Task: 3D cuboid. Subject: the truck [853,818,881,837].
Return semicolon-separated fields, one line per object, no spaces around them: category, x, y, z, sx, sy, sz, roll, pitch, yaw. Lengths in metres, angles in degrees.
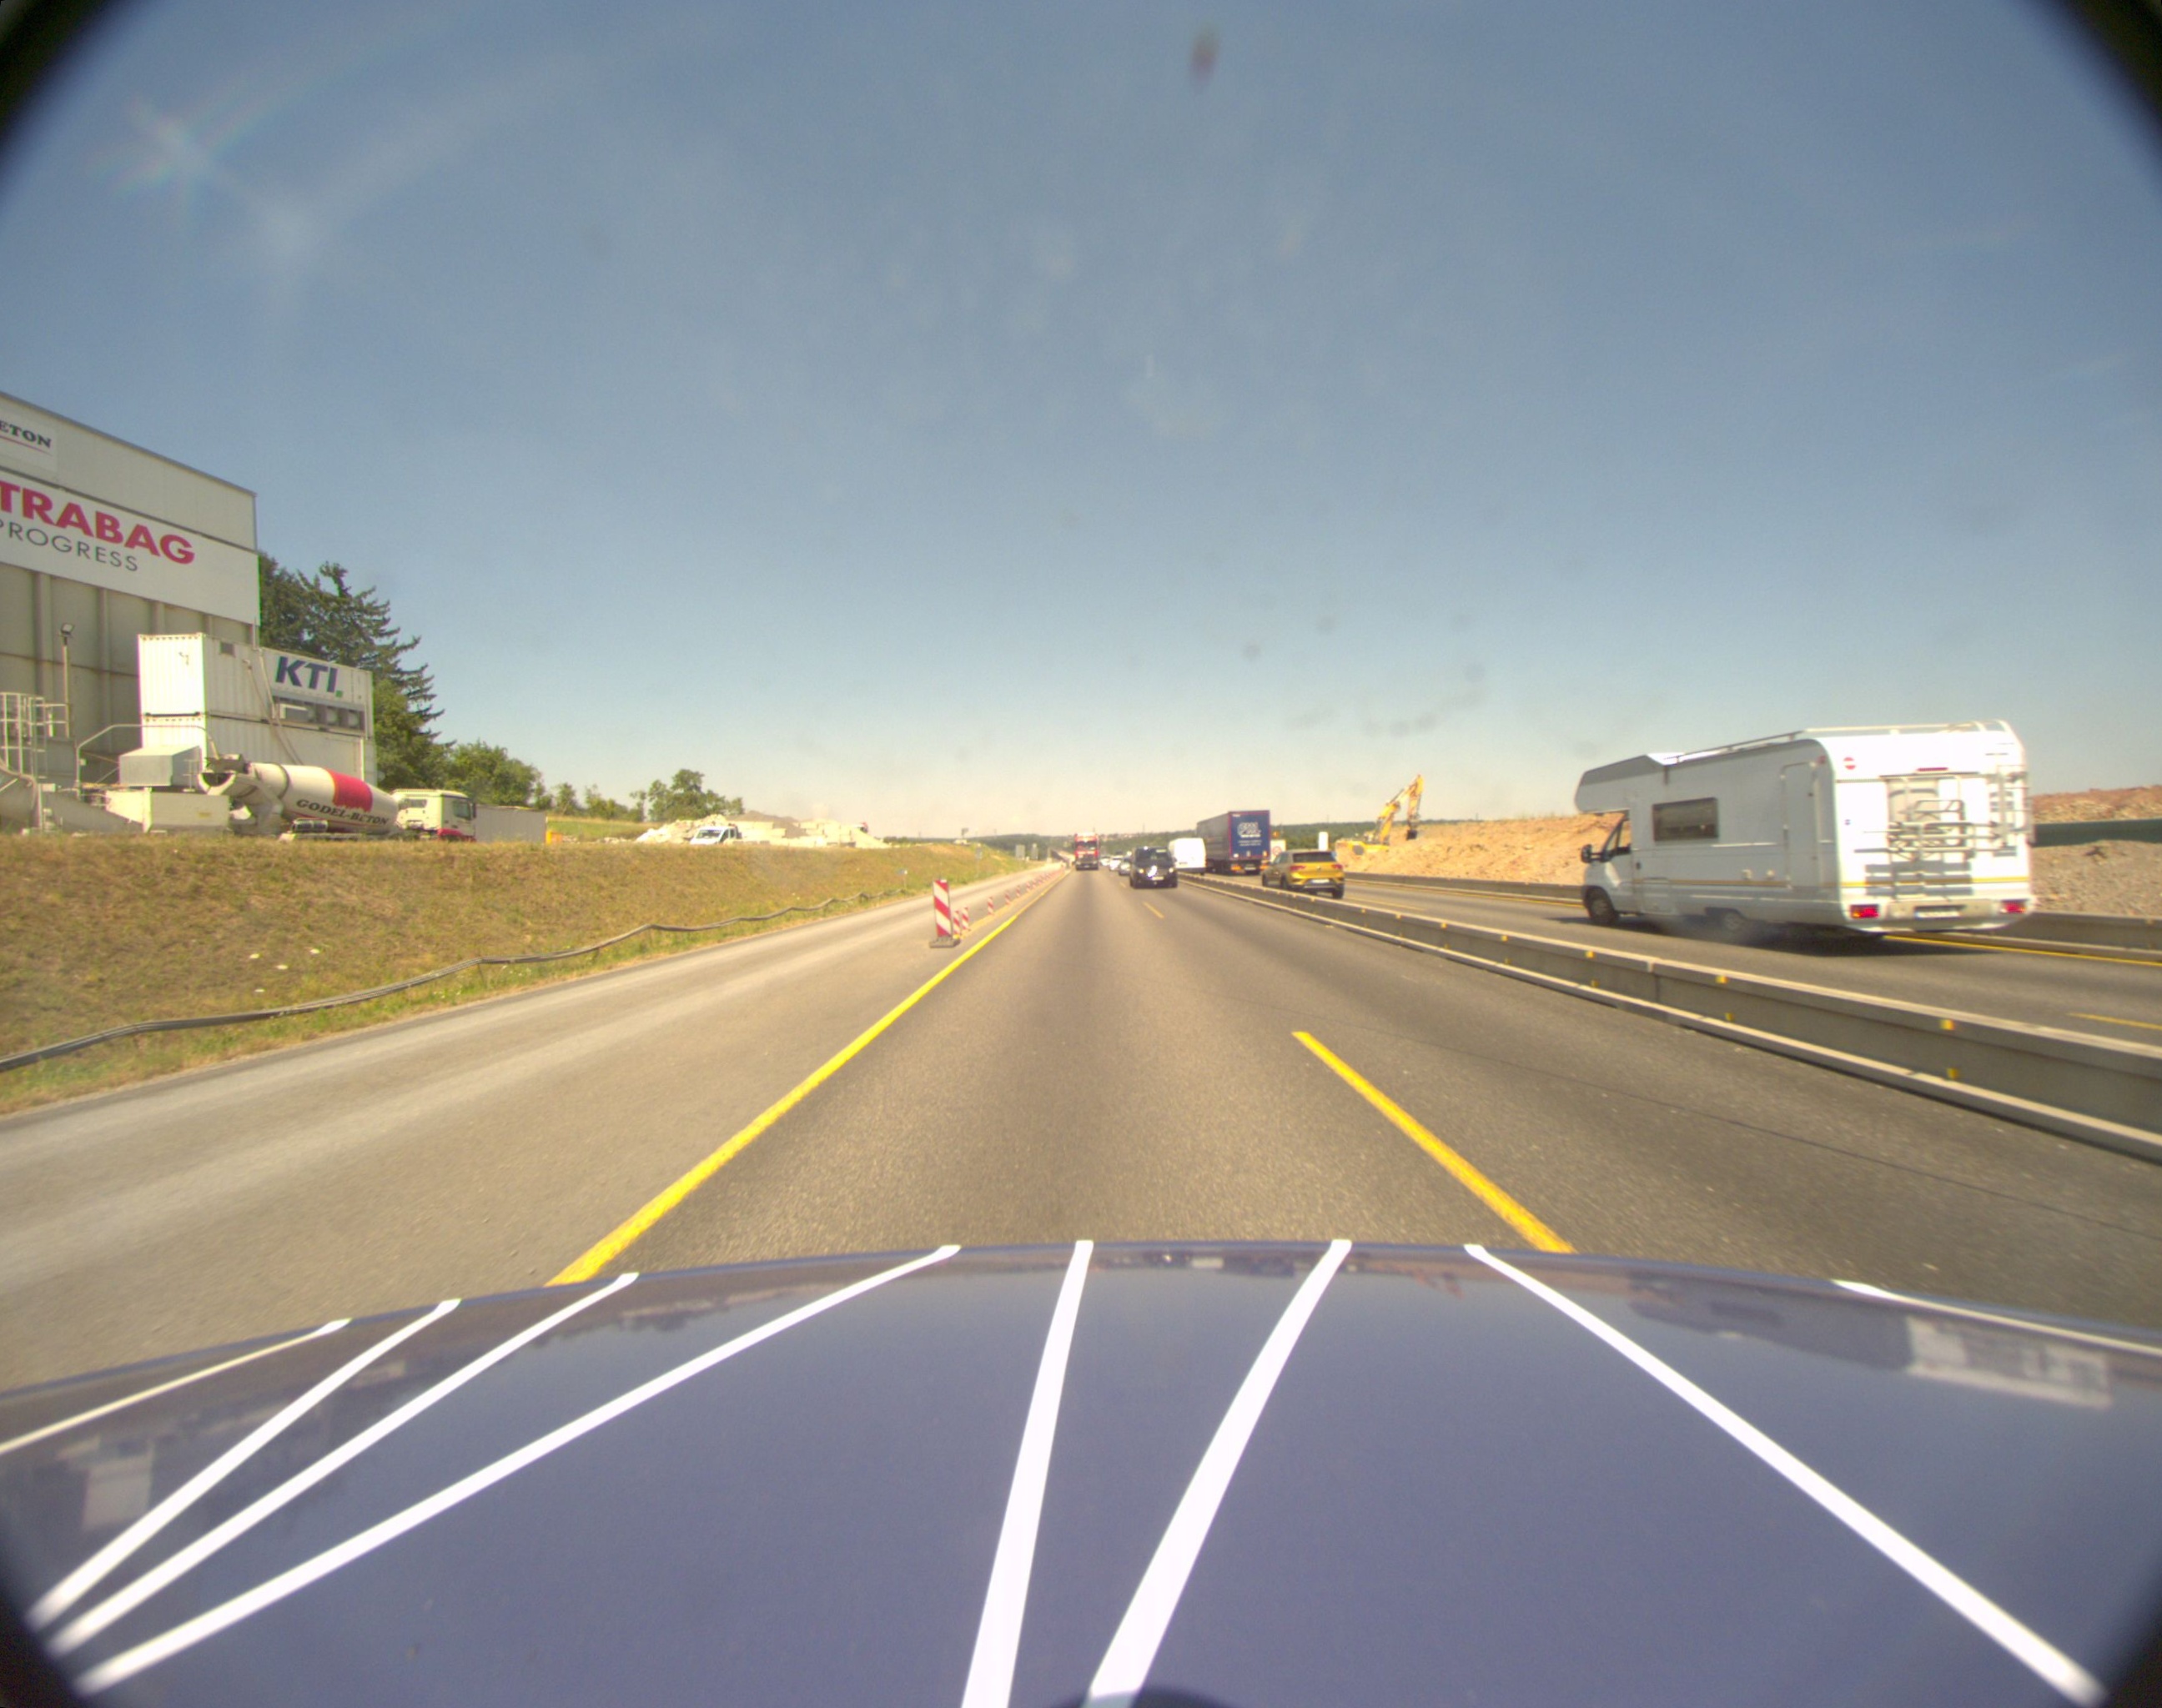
truck;-35.649;-4.315;126.812;2.223;2.803;9.061;-2;1;-2

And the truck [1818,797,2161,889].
truck;25.142;-0.333;20.137;2.568;2.046;8.802;-2;1;-1

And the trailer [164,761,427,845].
trailer;-28.282;-1.680;27.936;1.998;2.629;6.937;-2;1;4

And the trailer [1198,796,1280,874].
trailer;10.516;-1.207;52.360;2.993;4.570;12.882;-2;1;1

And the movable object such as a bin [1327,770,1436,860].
movable object such as a bin;25.222;-3.178;64.095;7.378;7.073;4.081;-2;1;1

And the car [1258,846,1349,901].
car;7.079;0.580;24.629;1.766;1.565;4.362;-2;0;2

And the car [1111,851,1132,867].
car;3.993;0.496;75.717;1.875;1.390;4.030;-2;1;1

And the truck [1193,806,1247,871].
truck;10.628;-1.190;58.858;2.972;4.625;6.243;-2;1;1

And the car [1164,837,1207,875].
car;6.983;0.167;51.404;2.040;2.329;6.196;-2;0;1

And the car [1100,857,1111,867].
car;3.808;1.218;119.613;1.601;1.390;3.695;-2;1;1

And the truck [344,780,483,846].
truck;-28.004;-1.646;32.072;2.021;2.530;4.041;-2;1;4

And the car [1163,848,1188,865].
car;9.464;0.214;76.496;1.873;1.620;4.885;-2;1;1

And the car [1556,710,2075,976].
car;10.190;-0.153;11.566;2.257;2.938;5.848;-2;1;1

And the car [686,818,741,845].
car;-25.422;-1.526;52.687;1.990;1.752;3.601;-2;1;0

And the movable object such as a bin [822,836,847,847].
movable object such as a bin;-15.860;-0.804;48.937;0.838;0.678;2.249;-2;1;1

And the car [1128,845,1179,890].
car;3.317;0.547;35.606;1.878;1.840;5.478;-2;1;1

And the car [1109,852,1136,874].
car;3.040;0.676;56.625;1.804;1.499;4.100;-2;0;0

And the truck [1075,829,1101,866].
truck;0.882;-0.707;84.806;2.537;3.798;9.481;-2;1;2
